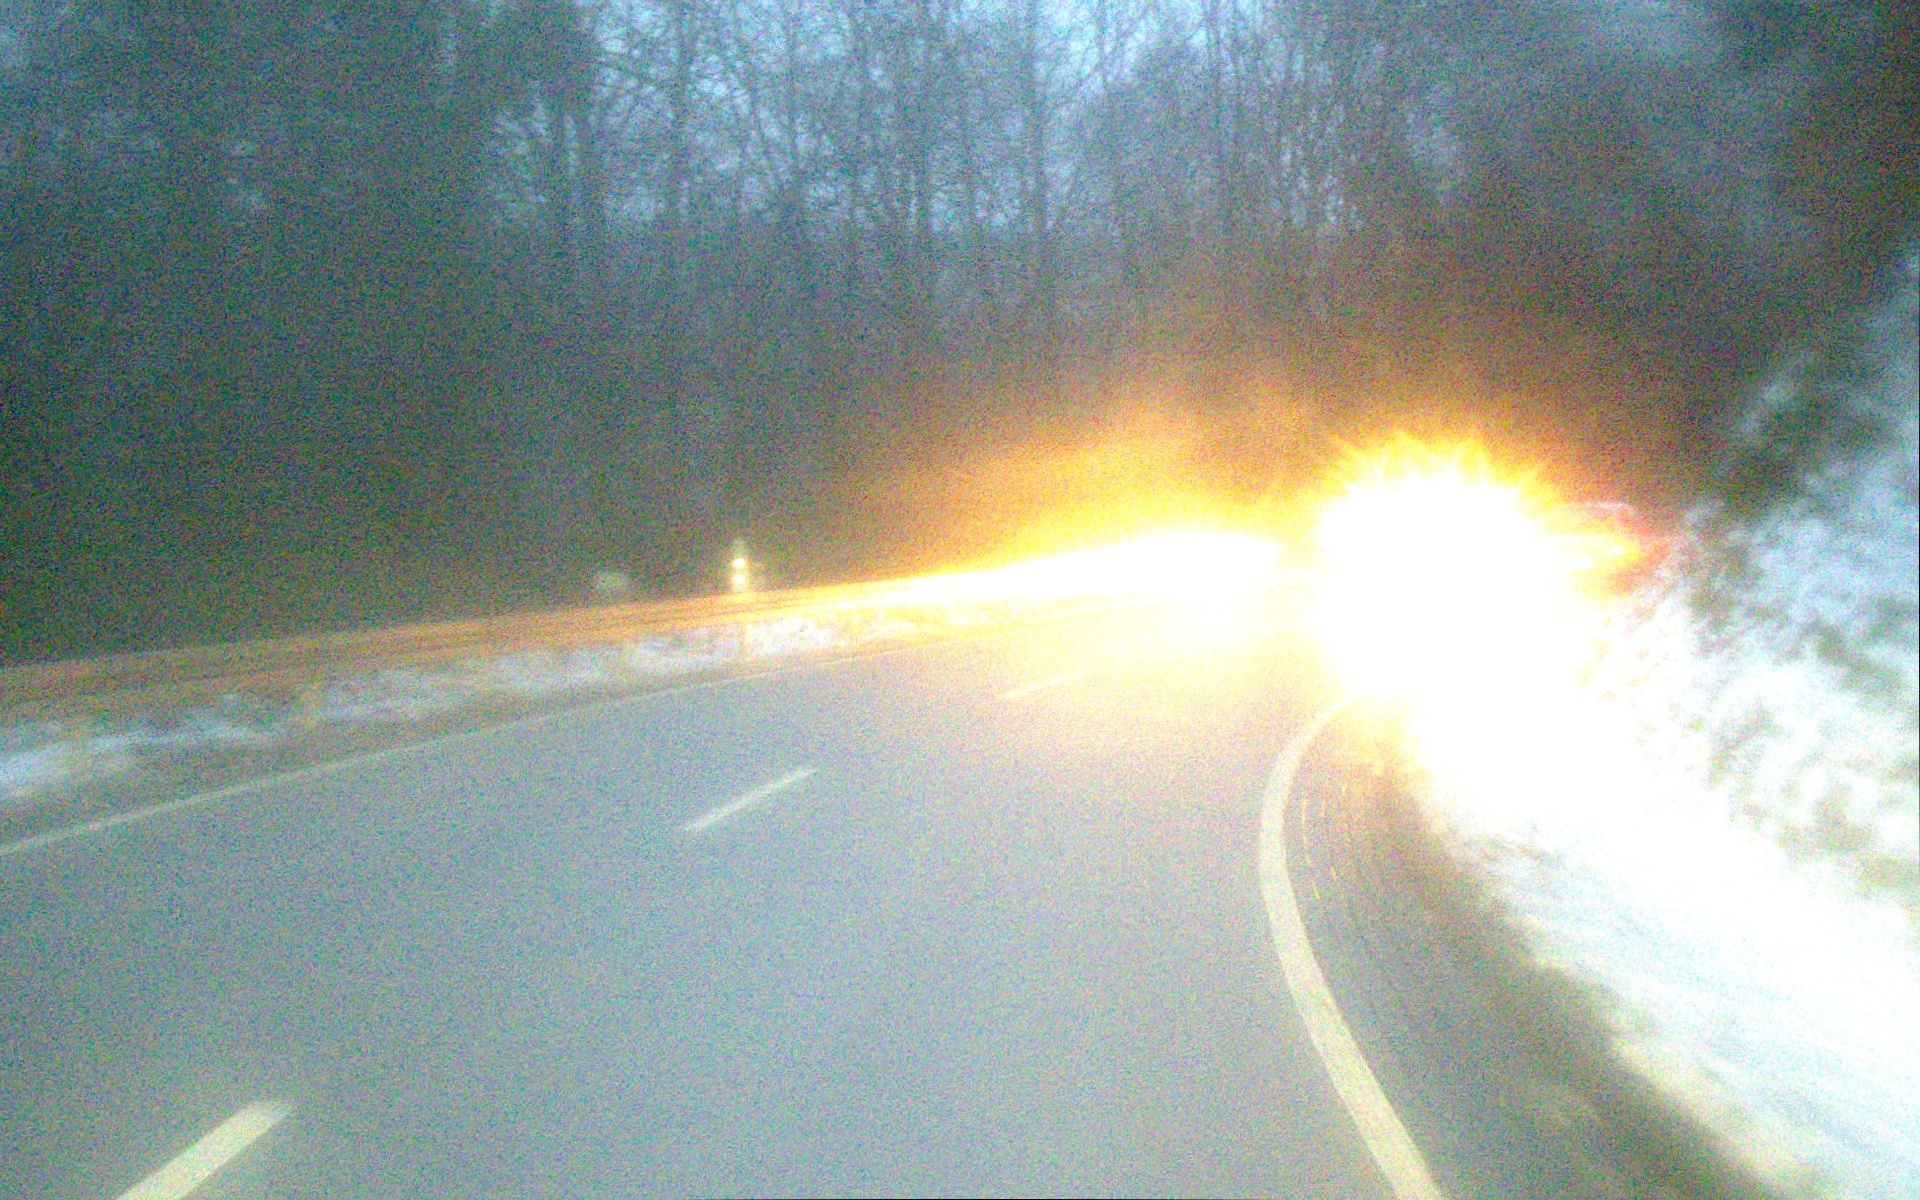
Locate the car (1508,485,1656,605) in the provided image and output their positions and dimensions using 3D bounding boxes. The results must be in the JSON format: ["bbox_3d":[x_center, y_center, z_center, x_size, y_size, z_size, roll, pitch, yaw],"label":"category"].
[{"bbox_3d":[10.234,-0.913,56.378,1.995,1.866,3.997,-1,1,16],"label":"car"}]

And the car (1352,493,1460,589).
[{"bbox_3d":[7.892,-1.059,60.597,1.722,1.624,3.999,1,1,9],"label":"car"}]
